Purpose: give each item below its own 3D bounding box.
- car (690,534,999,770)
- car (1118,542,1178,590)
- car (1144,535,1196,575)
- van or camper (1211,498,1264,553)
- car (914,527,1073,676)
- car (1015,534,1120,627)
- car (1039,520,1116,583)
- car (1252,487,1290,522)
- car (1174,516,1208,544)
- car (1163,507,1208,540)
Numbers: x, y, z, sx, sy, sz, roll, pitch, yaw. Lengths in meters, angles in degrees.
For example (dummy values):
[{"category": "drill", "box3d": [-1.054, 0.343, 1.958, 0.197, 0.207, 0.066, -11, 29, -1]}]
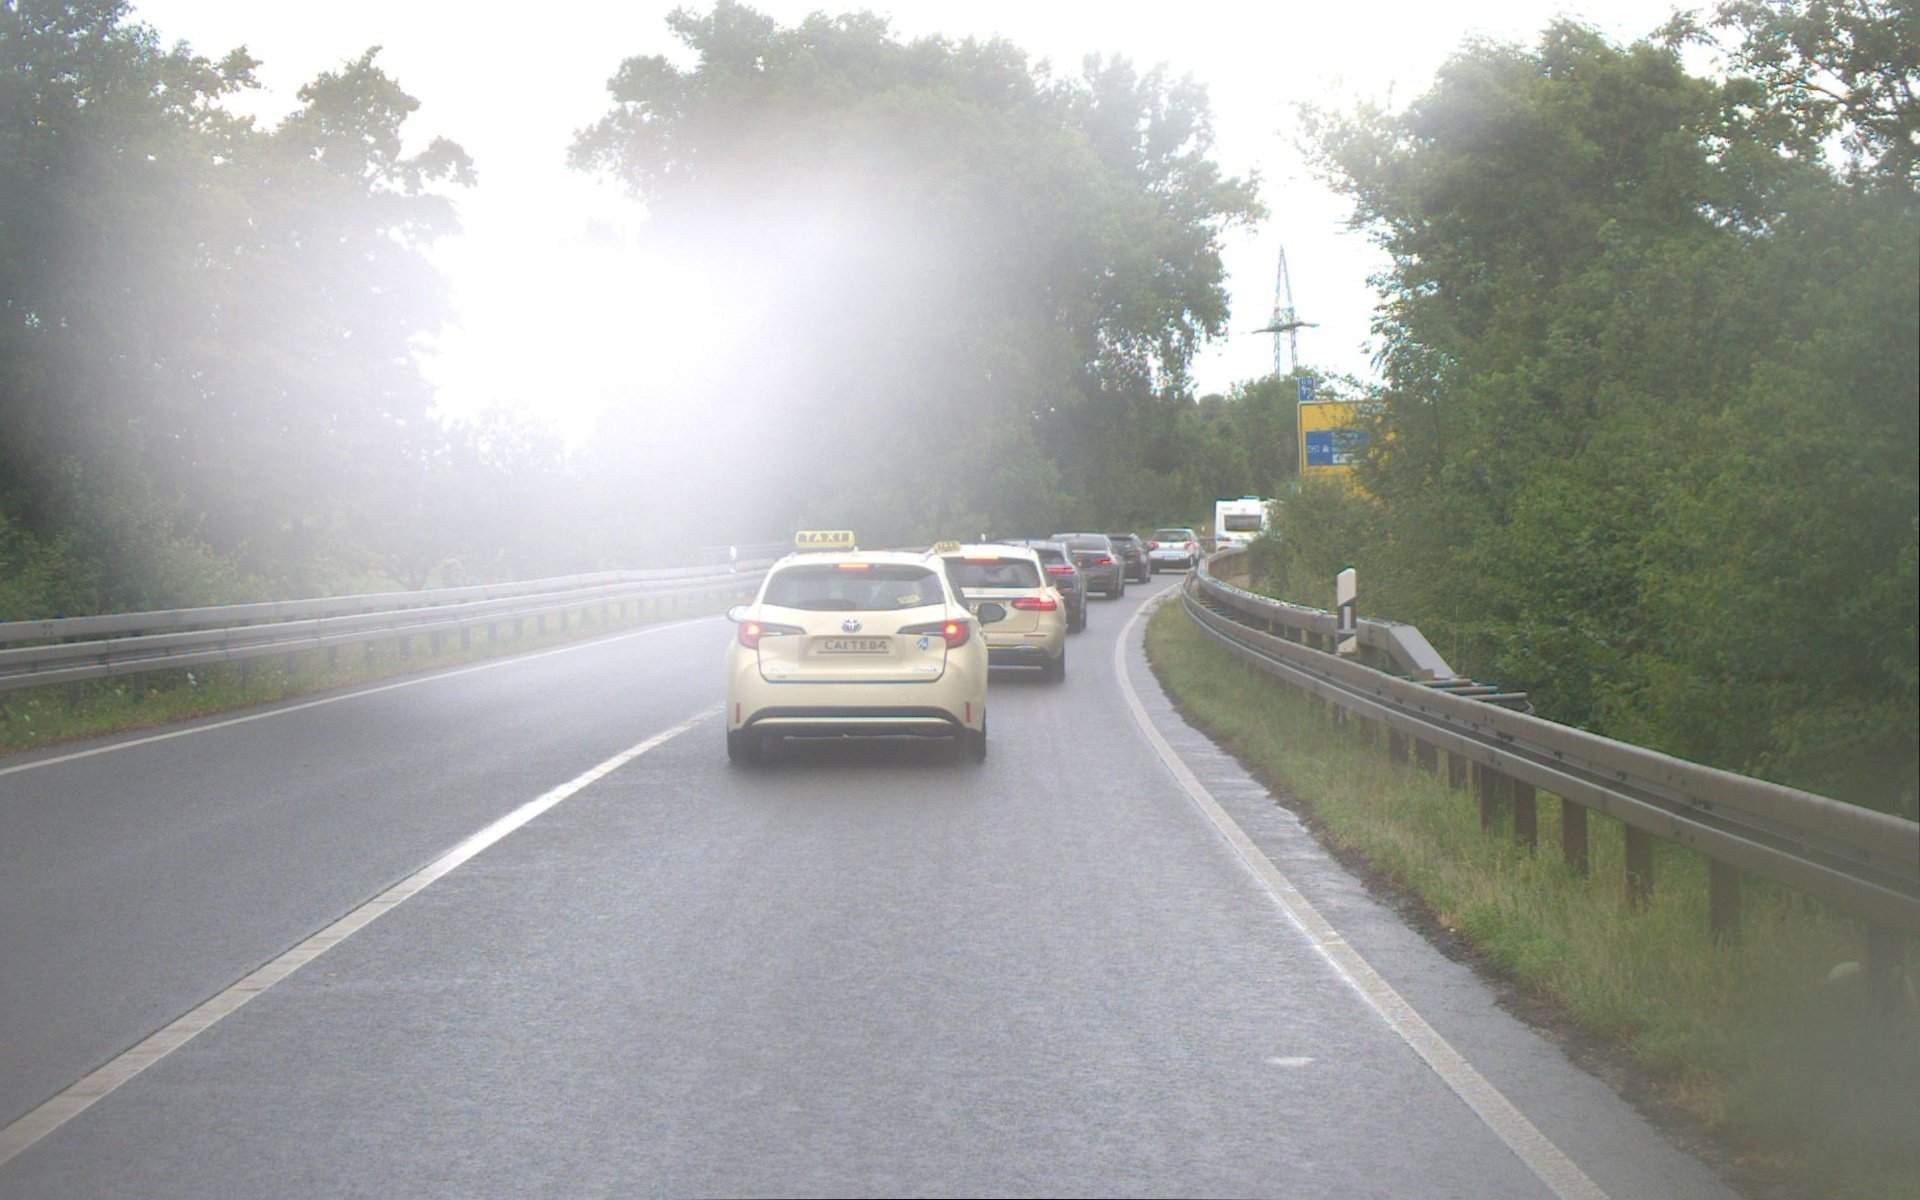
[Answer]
[{"category": "car", "box3d": [-0.728, 0.297, 24.483, 1.906, 1.532, 4.161, 0, 1, 2]}, {"category": "car", "box3d": [5.298, -0.962, 96.768, 1.483, 1.304, 3.476, 0, 1, 6]}, {"category": "car", "box3d": [6.945, -1.506, 113.535, 1.483, 1.304, 3.476, 0, 1, 7]}, {"category": "van or camper", "box3d": [11.505, -3.081, 142.350, 1.994, 2.246, 3.999, 0, 1, 7]}, {"category": "car", "box3d": [0.410, -0.025, 38.074, 1.578, 1.567, 3.681, 0, 1, 3]}, {"category": "car", "box3d": [1.735, -0.343, 55.934, 1.665, 1.459, 3.477, 0, 1, 1]}, {"category": "car", "box3d": [2.703, -1.082, 78.453, 1.660, 1.404, 3.904, 0, 0, 3]}, {"category": "car", "box3d": [14.993, -4.595, 165.713, 1.647, 1.580, 3.682, 0, 1, 8]}, {"category": "car", "box3d": [11.571, -3.493, 172.152, 1.425, 1.351, 3.225, 0, 1, 9]}, {"category": "car", "box3d": [8.461, -2.840, 128.748, 1.373, 1.197, 3.315, 0, 1, 9]}]
